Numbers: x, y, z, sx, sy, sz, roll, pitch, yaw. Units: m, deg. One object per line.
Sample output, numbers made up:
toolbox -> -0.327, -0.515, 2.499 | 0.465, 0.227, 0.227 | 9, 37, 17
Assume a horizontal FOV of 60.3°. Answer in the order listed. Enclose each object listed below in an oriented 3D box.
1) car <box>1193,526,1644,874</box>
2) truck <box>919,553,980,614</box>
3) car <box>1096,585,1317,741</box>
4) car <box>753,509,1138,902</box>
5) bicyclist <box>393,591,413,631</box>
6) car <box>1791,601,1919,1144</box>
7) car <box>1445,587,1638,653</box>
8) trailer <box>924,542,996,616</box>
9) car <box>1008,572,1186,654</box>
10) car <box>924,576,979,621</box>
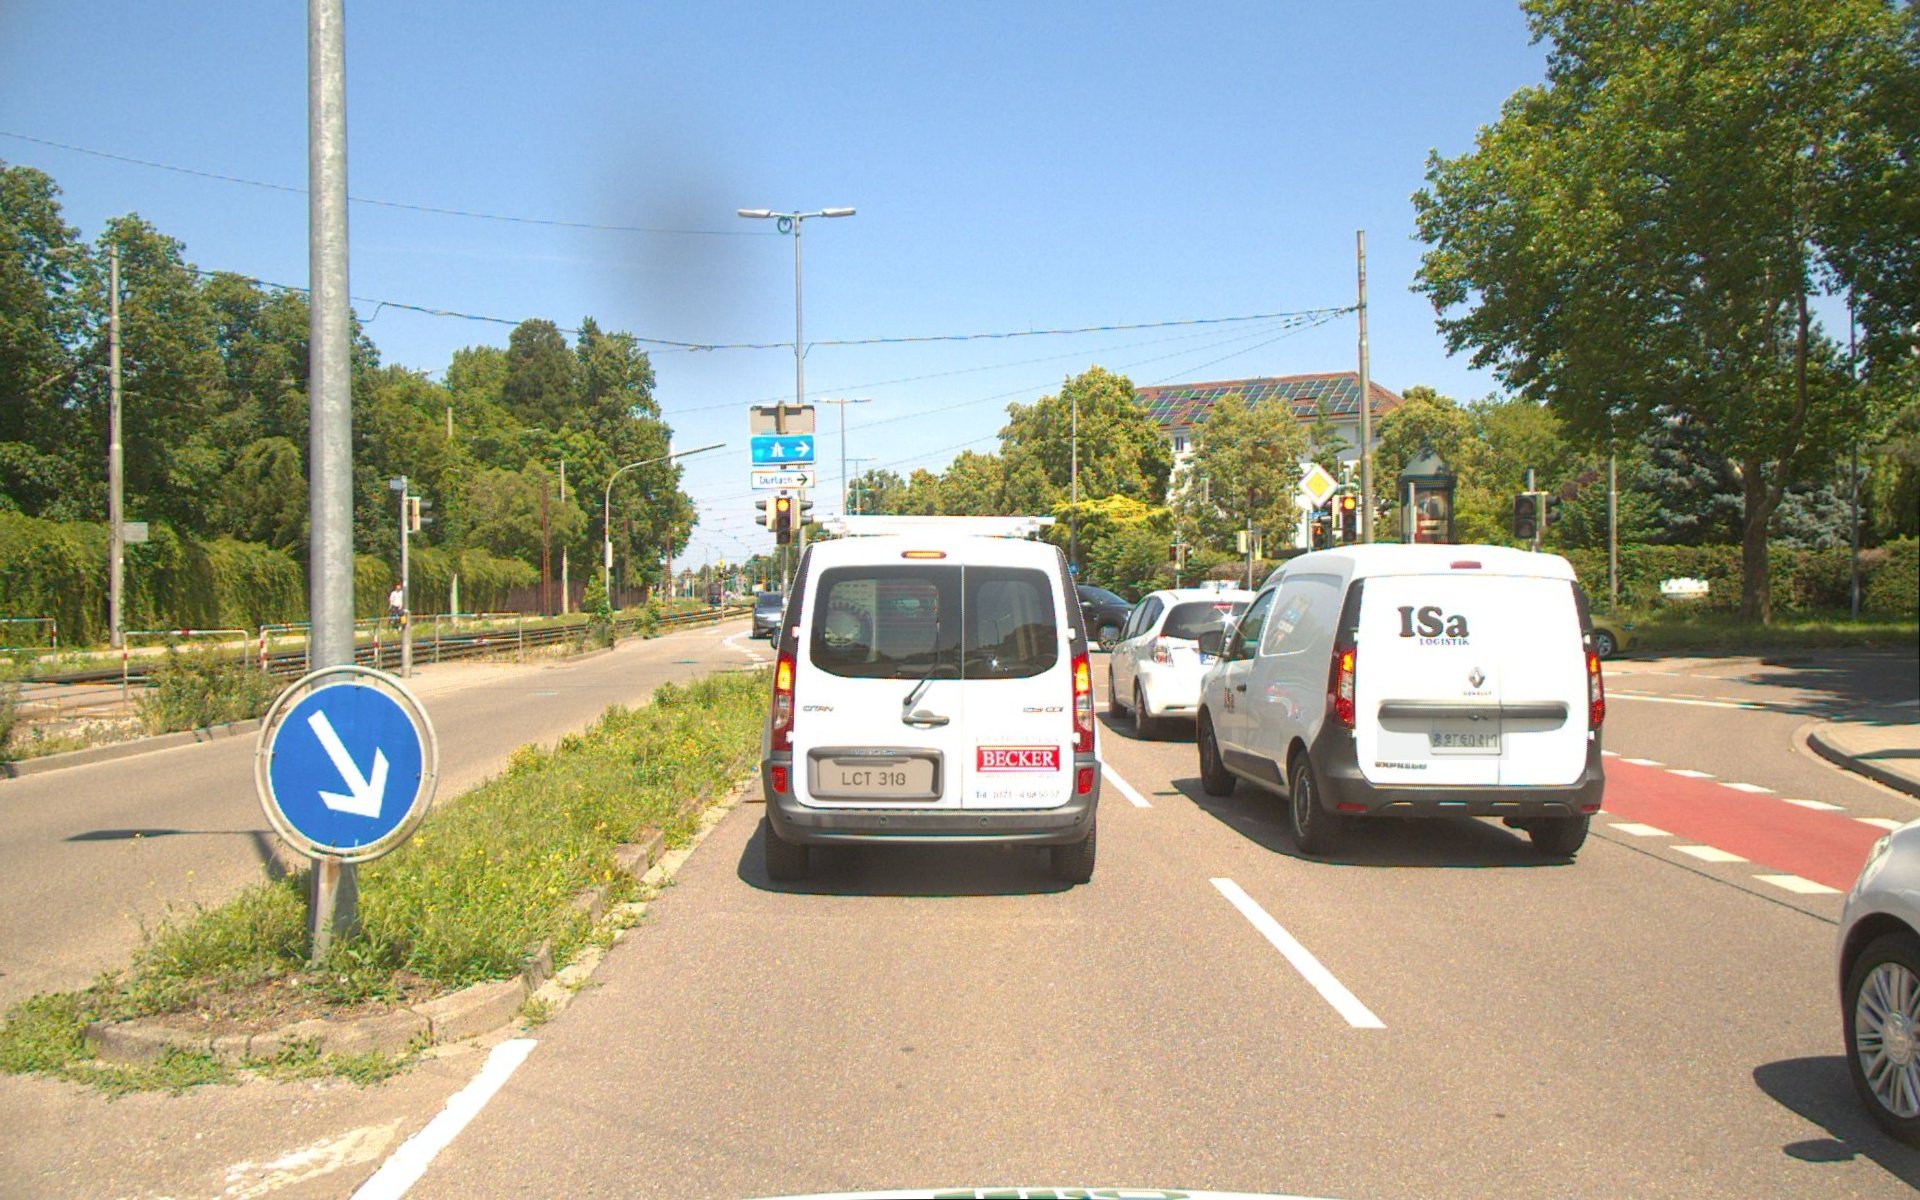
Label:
car -> 2.766, 0.522, 10.945 | 1.676, 1.862, 4.011 | 0, 0, -3
truck -> -0.750, -1.039, 106.019 | 3.505, 3.696, 8.803 | 0, 0, -3
car -> 2.597, 0.604, 18.314 | 1.720, 1.512, 3.999 | -1, 0, -2
car -> -0.144, 0.495, 9.842 | 1.829, 1.868, 3.847 | 0, 0, -2
bicyclist -> -21.029, 0.412, 62.417 | 0.546, 1.504, 0.561 | -1, 0, -1
car -> 3.432, 0.769, 3.453 | 1.574, 1.477, 3.520 | 1, 0, -1
car -> 12.790, 0.434, 36.580 | 3.904, 1.403, 1.545 | 0, 0, 14
trailer -> -0.084, -1.229, 97.082 | 3.459, 4.121, 8.968 | -1, 0, -5
car -> 3.345, 0.300, 40.585 | 3.923, 1.892, 1.991 | 0, 0, 38
car -> -0.433, -0.088, 79.131 | 1.958, 2.049, 3.989 | -1, 0, -11
